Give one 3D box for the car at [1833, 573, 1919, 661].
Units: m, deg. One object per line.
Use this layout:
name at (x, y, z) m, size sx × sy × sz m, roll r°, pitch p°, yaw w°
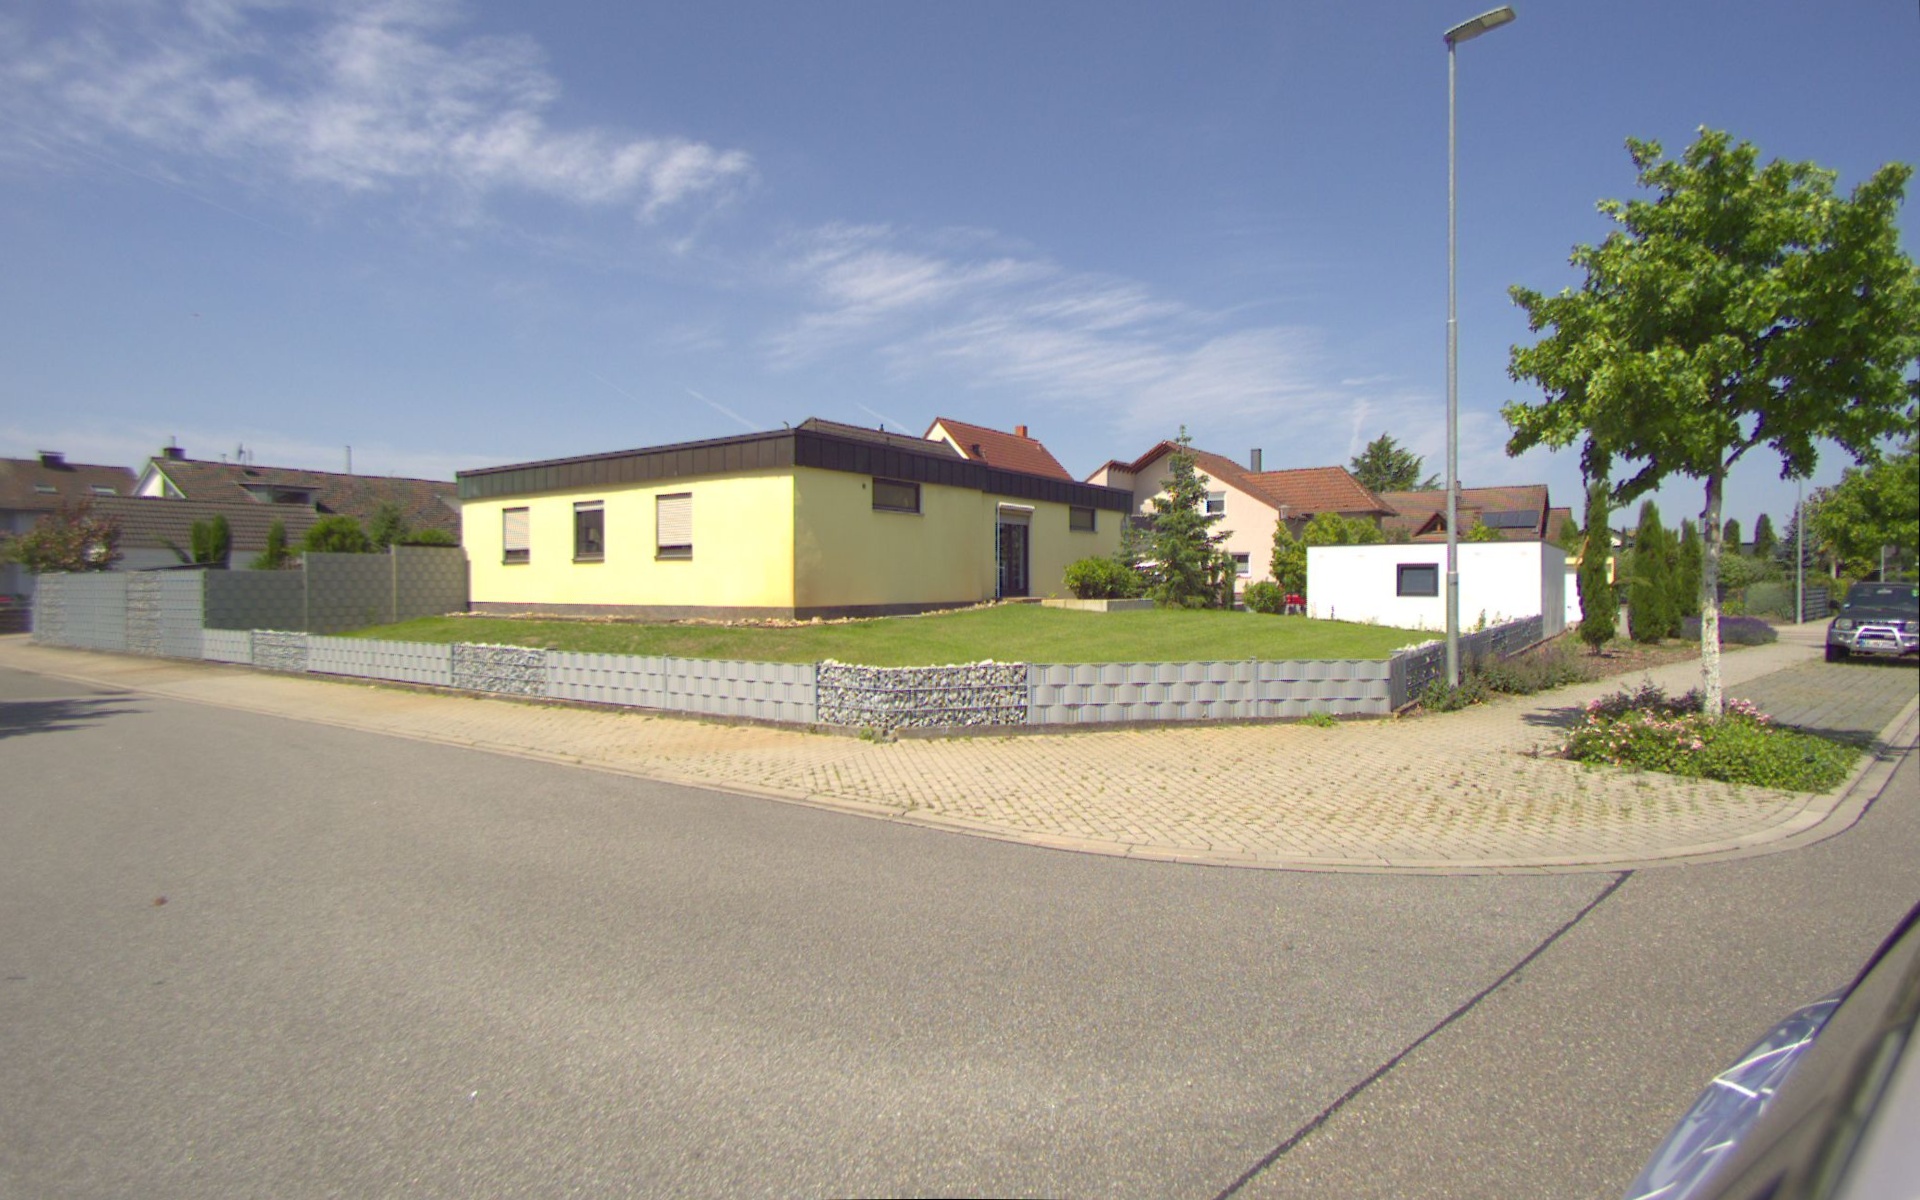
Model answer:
car at (19.324, 0.284, 20.794) m, size 3.736 × 1.660 × 1.597 m, roll -1°, pitch 1°, yaw -41°
